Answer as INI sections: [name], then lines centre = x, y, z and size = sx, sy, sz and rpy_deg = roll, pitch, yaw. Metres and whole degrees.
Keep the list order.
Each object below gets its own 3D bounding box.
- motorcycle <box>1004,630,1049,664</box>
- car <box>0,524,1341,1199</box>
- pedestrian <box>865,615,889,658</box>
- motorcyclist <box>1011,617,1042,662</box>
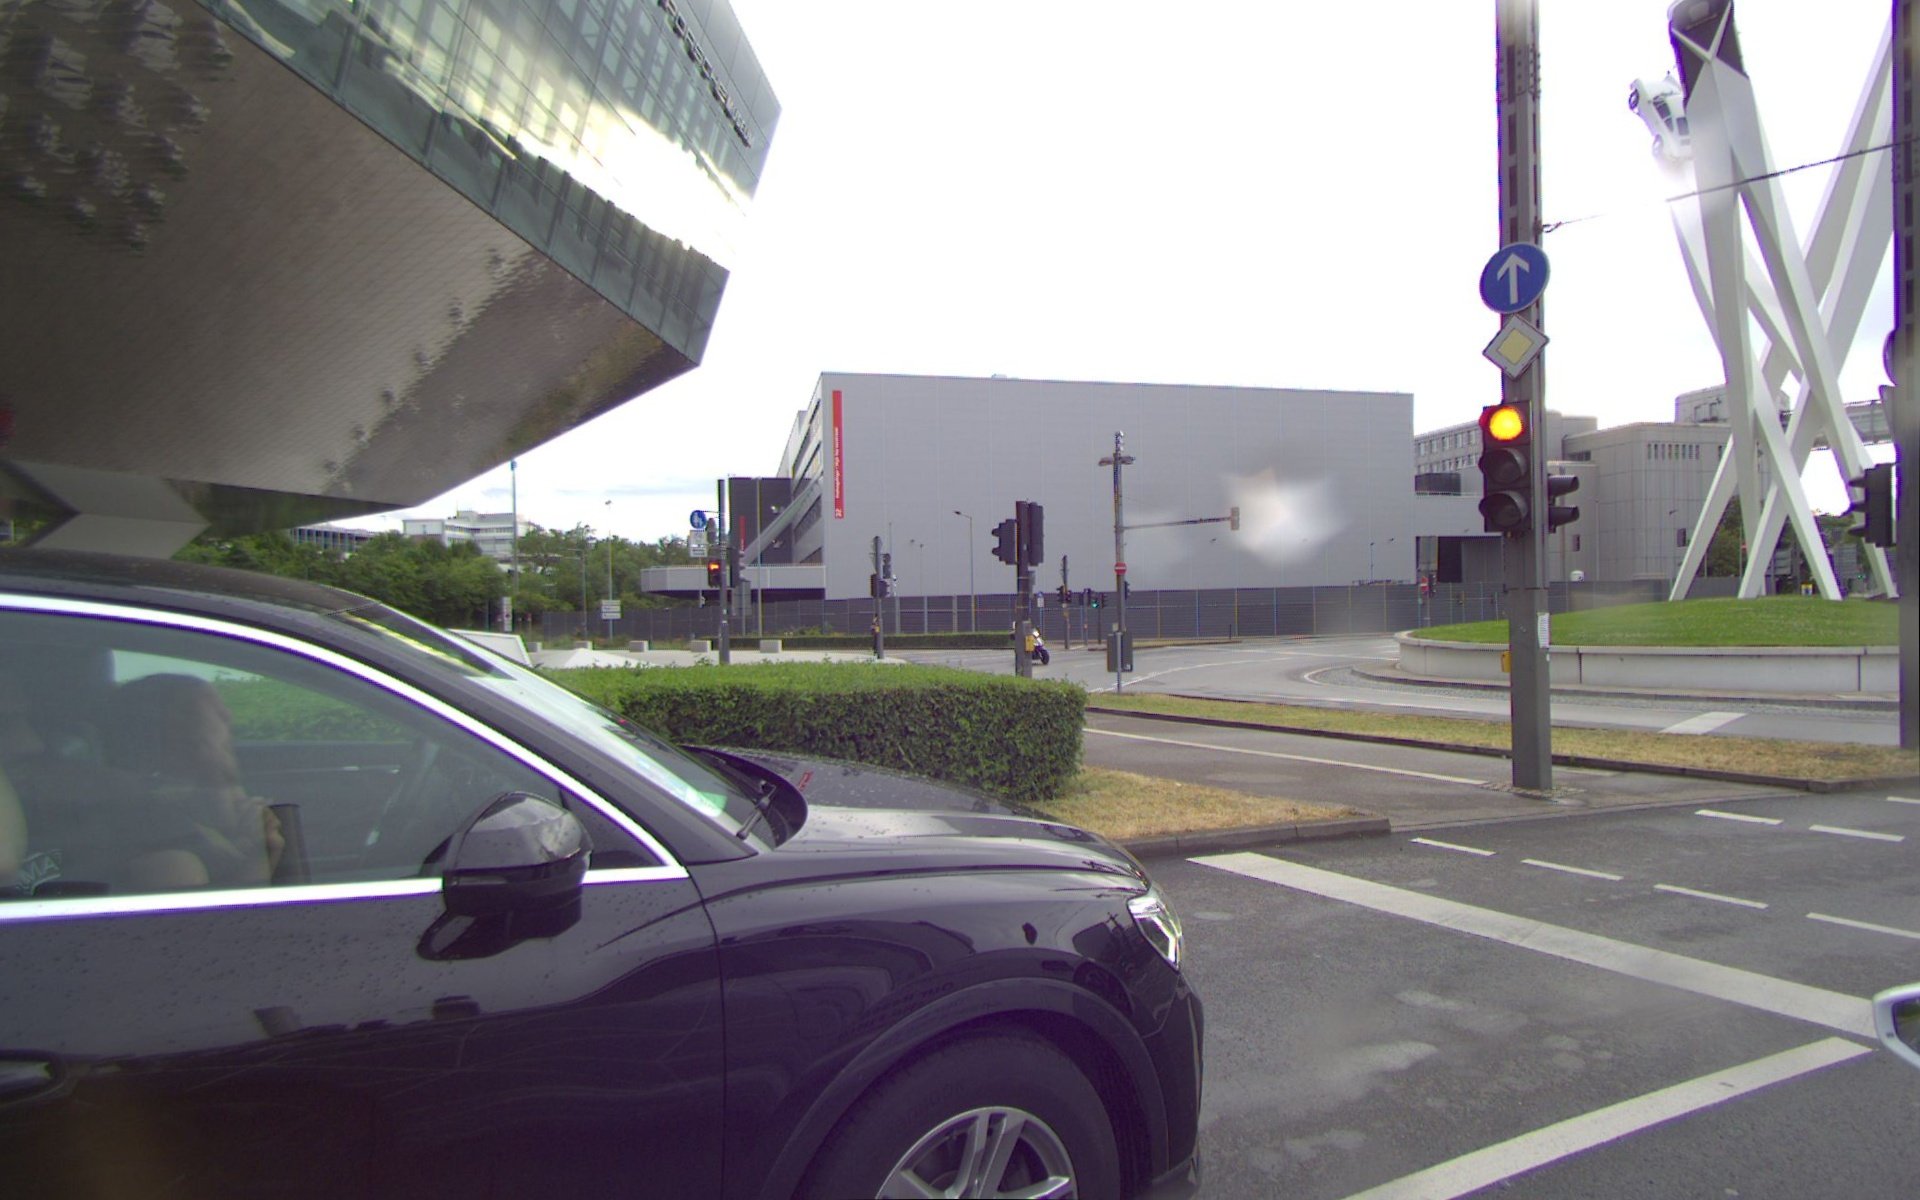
[motorcycle]
centre = 2.462, 1.738, 37.582
size = 0.446, 1.208, 2.246
rpy_deg = 0, -1, -33
[car]
centre = -1.493, 0.683, 1.793
size = 4.344, 1.538, 1.743
rpy_deg = 2, 0, -31
[pedestrian]
centre = -3.552, 1.553, 43.067
size = 0.638, 1.827, 0.851
rpy_deg = 0, 0, 35
[motorcyclist]
centre = 2.496, 1.461, 37.493
size = 0.664, 1.644, 1.024
rpy_deg = 0, 0, -36
